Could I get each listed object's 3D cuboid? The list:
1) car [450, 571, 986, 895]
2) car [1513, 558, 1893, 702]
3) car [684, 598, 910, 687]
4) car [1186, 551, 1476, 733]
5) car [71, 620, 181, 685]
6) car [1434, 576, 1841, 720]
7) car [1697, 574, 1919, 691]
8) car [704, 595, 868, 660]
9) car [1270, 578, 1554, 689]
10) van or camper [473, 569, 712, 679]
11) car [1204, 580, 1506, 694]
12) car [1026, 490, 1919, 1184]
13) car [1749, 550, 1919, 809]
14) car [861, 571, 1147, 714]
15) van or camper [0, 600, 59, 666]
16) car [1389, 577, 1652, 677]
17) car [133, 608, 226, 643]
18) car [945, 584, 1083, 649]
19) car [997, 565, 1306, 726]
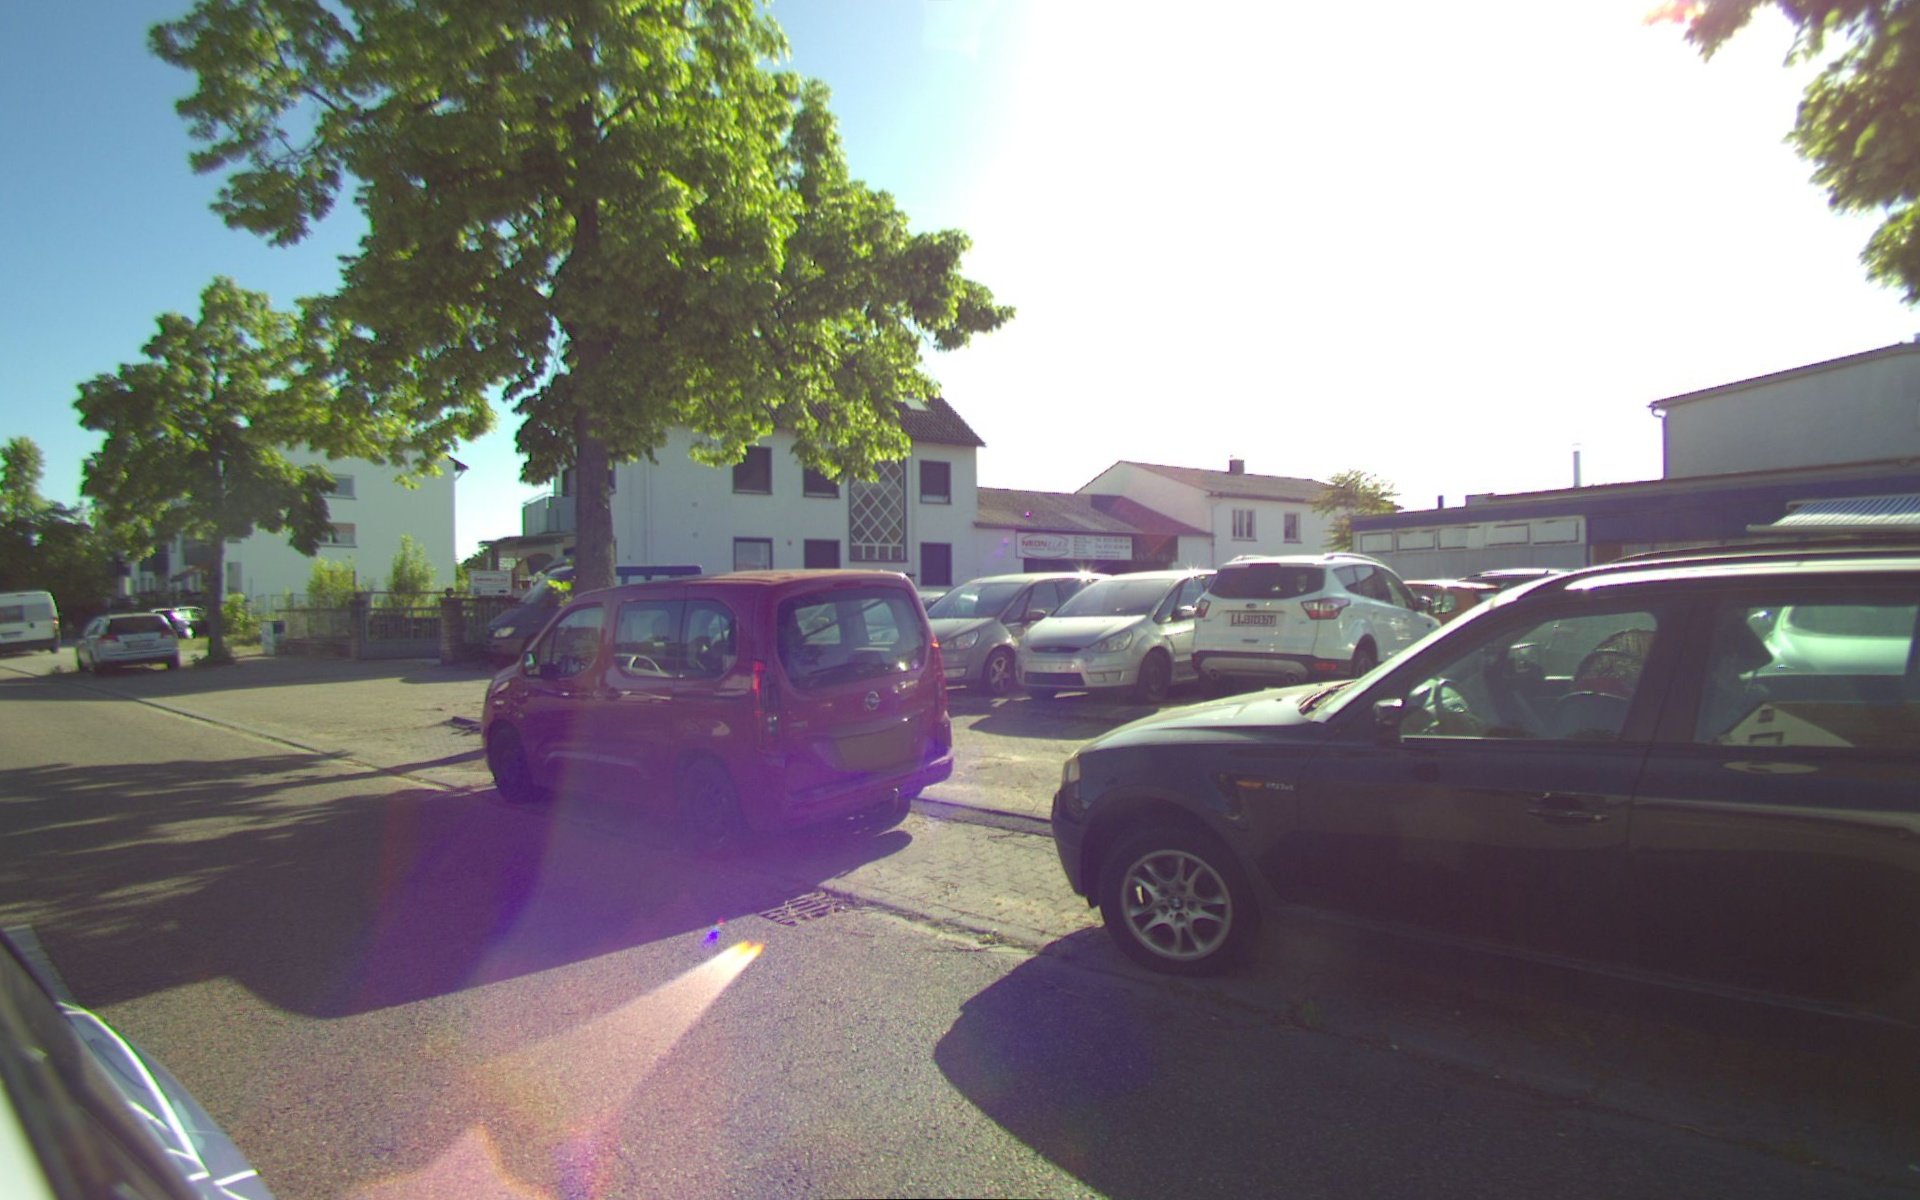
[{"bbox_3d":[-2.050,0.750,7.701,4.340,1.765,1.785,-1,1,42],"label":"car"},{"bbox_3d":[10.148,0.380,14.061,1.644,1.706,4.005,0,-1,-42],"label":"car"},{"bbox_3d":[-3.197,0.780,20.375,4.198,1.553,1.768,-1,0,-43],"label":"car"},{"bbox_3d":[4.491,0.420,11.881,1.765,1.742,4.203,-1,-1,42],"label":"car"},{"bbox_3d":[-21.640,1.317,26.198,4.209,1.446,1.668,-2,1,44],"label":"car"},{"bbox_3d":[8.404,0.538,12.835,1.644,1.528,4.005,0,-1,-42],"label":"car"},{"bbox_3d":[13.155,0.446,14.630,1.644,1.576,3.785,0,-1,-42],"label":"car"},{"bbox_3d":[-4.552,0.671,26.724,3.929,1.591,1.683,0,1,-35],"label":"car"},{"bbox_3d":[7.431,0.518,16.919,1.644,1.631,4.005,0,-1,-42],"label":"car"},{"bbox_3d":[-8.539,0.472,23.650,4.827,2.337,2.249,-1,0,-35],"label":"van or camper"},{"bbox_3d":[5.947,0.520,15.590,1.644,1.528,4.005,0,-1,-42],"label":"car"},{"bbox_3d":[2.570,0.590,3.580,4.553,1.784,1.657,-2,1,41],"label":"car"},{"bbox_3d":[7.893,0.541,8.362,1.766,1.742,4.202,-1,-1,43],"label":"car"},{"bbox_3d":[0.756,0.541,14.581,1.767,1.766,4.200,-1,-1,45],"label":"car"},{"bbox_3d":[-38.212,1.348,40.847,5.553,2.509,2.100,-3,-1,42],"label":"van or camper"},{"bbox_3d":[9.795,0.444,17.867,1.644,1.576,3.720,0,-1,-42],"label":"car"},{"bbox_3d":[-37.241,1.183,48.409,1.589,1.525,4.396,-1,0,-8],"label":"car"},{"bbox_3d":[1.675,0.463,30.767,3.988,1.849,1.683,-1,-1,-35],"label":"car"},{"bbox_3d":[2.584,0.512,13.061,4.198,1.742,1.768,0,-1,-43],"label":"car"}]
